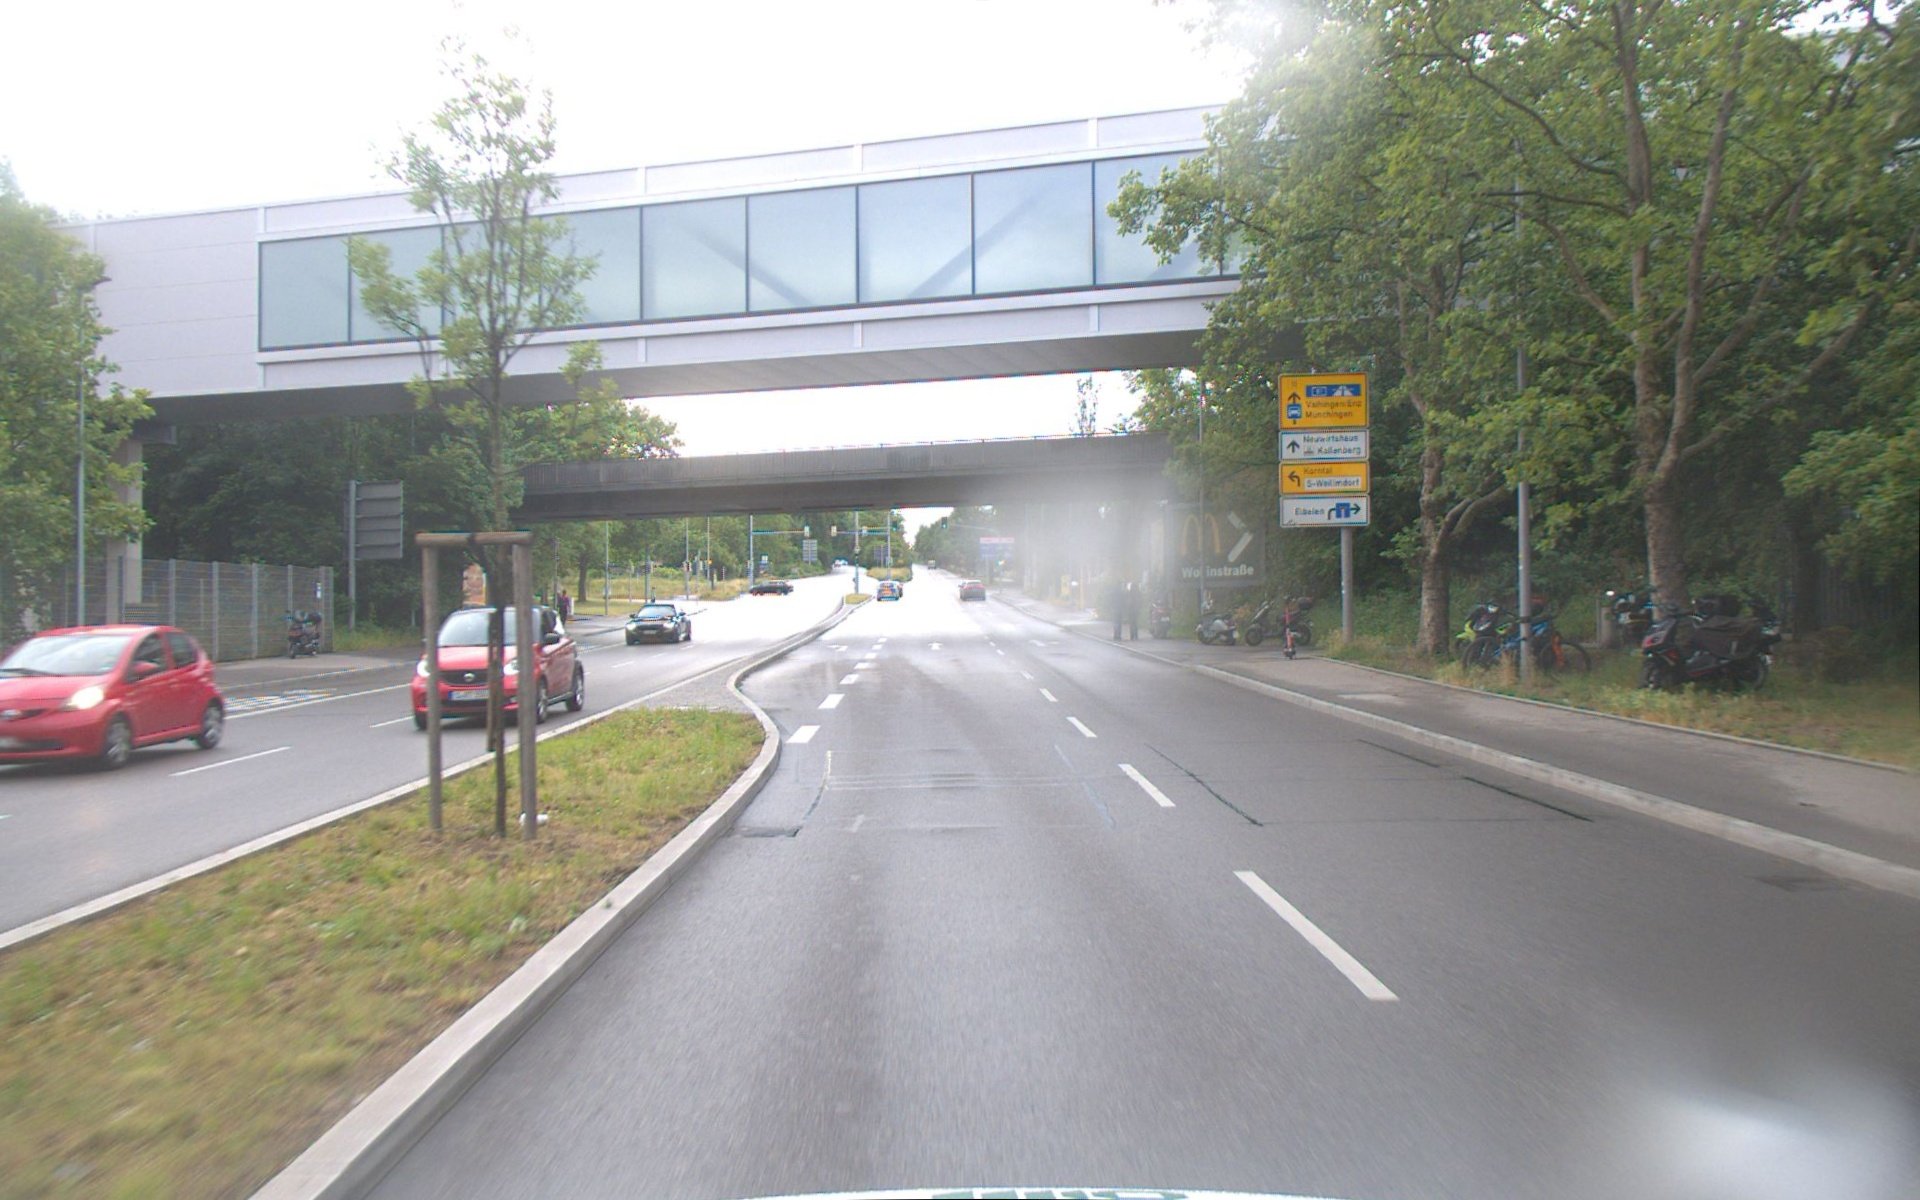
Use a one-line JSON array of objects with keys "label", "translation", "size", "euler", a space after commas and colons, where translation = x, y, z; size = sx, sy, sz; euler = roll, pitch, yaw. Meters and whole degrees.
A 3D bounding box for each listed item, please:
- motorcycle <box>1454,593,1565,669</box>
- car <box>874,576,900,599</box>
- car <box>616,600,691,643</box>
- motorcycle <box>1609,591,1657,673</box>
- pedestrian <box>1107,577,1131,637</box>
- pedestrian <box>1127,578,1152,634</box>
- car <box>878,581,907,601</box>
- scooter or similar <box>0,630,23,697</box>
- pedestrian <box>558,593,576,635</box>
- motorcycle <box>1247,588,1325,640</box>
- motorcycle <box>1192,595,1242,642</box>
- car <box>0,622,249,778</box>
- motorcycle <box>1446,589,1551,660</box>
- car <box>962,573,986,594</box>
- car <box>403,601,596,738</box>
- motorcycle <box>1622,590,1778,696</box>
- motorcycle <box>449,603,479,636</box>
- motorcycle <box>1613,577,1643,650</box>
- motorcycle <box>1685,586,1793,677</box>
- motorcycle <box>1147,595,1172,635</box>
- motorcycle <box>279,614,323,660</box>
[{"label": "motorcycle", "translation": [9.634, 0.528, 28.993], "size": [1.819, 1.274, 0.627], "euler": [-1, 0, -17]}, {"label": "car", "translation": [-5.829, -0.996, 132.141], "size": [2.035, 1.748, 4.195], "euler": [1, -1, -3]}, {"label": "car", "translation": [-11.077, 0.750, 60.065], "size": [2.022, 1.385, 4.755], "euler": [-1, 0, -2]}, {"label": "motorcycle", "translation": [11.350, 0.520, 27.864], "size": [0.510, 1.301, 1.851], "euler": [-1, 0, 29]}, {"label": "pedestrian", "translation": [4.737, 0.199, 49.243], "size": [0.598, 1.751, 0.892], "euler": [-1, 0, 9]}, {"label": "pedestrian", "translation": [5.330, 0.177, 49.107], "size": [0.636, 1.624, 0.579], "euler": [-1, 0, 10]}, {"label": "car", "translation": [-5.966, -0.780, 147.317], "size": [2.121, 1.610, 4.665], "euler": [1, -1, 3]}, {"label": "scooter or similar", "translation": [-18.133, 1.198, 31.007], "size": [0.305, 1.239, 1.308], "euler": [-1, 0, 4]}, {"label": "pedestrian", "translation": [-17.550, 0.605, 73.837], "size": [0.508, 1.847, 0.800], "euler": [0, 0, 9]}, {"label": "motorcycle", "translation": [8.457, 0.370, 42.955], "size": [1.904, 1.320, 0.546], "euler": [-1, 0, 34]}, {"label": "motorcycle", "translation": [6.950, 0.487, 44.838], "size": [0.462, 1.234, 1.933], "euler": [-1, 0, -19]}, {"label": "car", "translation": [-9.426, 1.024, 18.136], "size": [1.681, 1.462, 3.770], "euler": [-3, 0, -2]}, {"label": "motorcycle", "translation": [9.980, 0.442, 30.708], "size": [0.623, 1.274, 1.831], "euler": [-1, 0, -36]}, {"label": "car", "translation": [1.053, -1.268, 125.601], "size": [1.709, 1.495, 4.165], "euler": [0, 1, -2]}, {"label": "car", "translation": [-6.170, 0.871, 22.575], "size": [1.553, 1.633, 3.854], "euler": [-3, 0, -1]}, {"label": "motorcycle", "translation": [8.937, 0.506, 19.972], "size": [1.819, 1.212, 0.519], "euler": [-1, 0, -17]}, {"label": "motorcycle", "translation": [-18.827, 0.719, 62.811], "size": [0.459, 1.179, 1.933], "euler": [-1, 1, 2]}, {"label": "motorcycle", "translation": [12.519, 0.235, 30.964], "size": [0.341, 1.301, 2.069], "euler": [-1, 0, 26]}, {"label": "motorcycle", "translation": [11.686, 0.456, 24.880], "size": [0.632, 1.302, 1.990], "euler": [-1, 0, -1]}, {"label": "motorcycle", "translation": [5.914, 0.426, 49.122], "size": [0.460, 1.156, 1.818], "euler": [-1, 0, -1]}, {"label": "motorcycle", "translation": [-18.459, 1.020, 46.363], "size": [0.459, 1.226, 1.996], "euler": [-1, 1, -1]}]
